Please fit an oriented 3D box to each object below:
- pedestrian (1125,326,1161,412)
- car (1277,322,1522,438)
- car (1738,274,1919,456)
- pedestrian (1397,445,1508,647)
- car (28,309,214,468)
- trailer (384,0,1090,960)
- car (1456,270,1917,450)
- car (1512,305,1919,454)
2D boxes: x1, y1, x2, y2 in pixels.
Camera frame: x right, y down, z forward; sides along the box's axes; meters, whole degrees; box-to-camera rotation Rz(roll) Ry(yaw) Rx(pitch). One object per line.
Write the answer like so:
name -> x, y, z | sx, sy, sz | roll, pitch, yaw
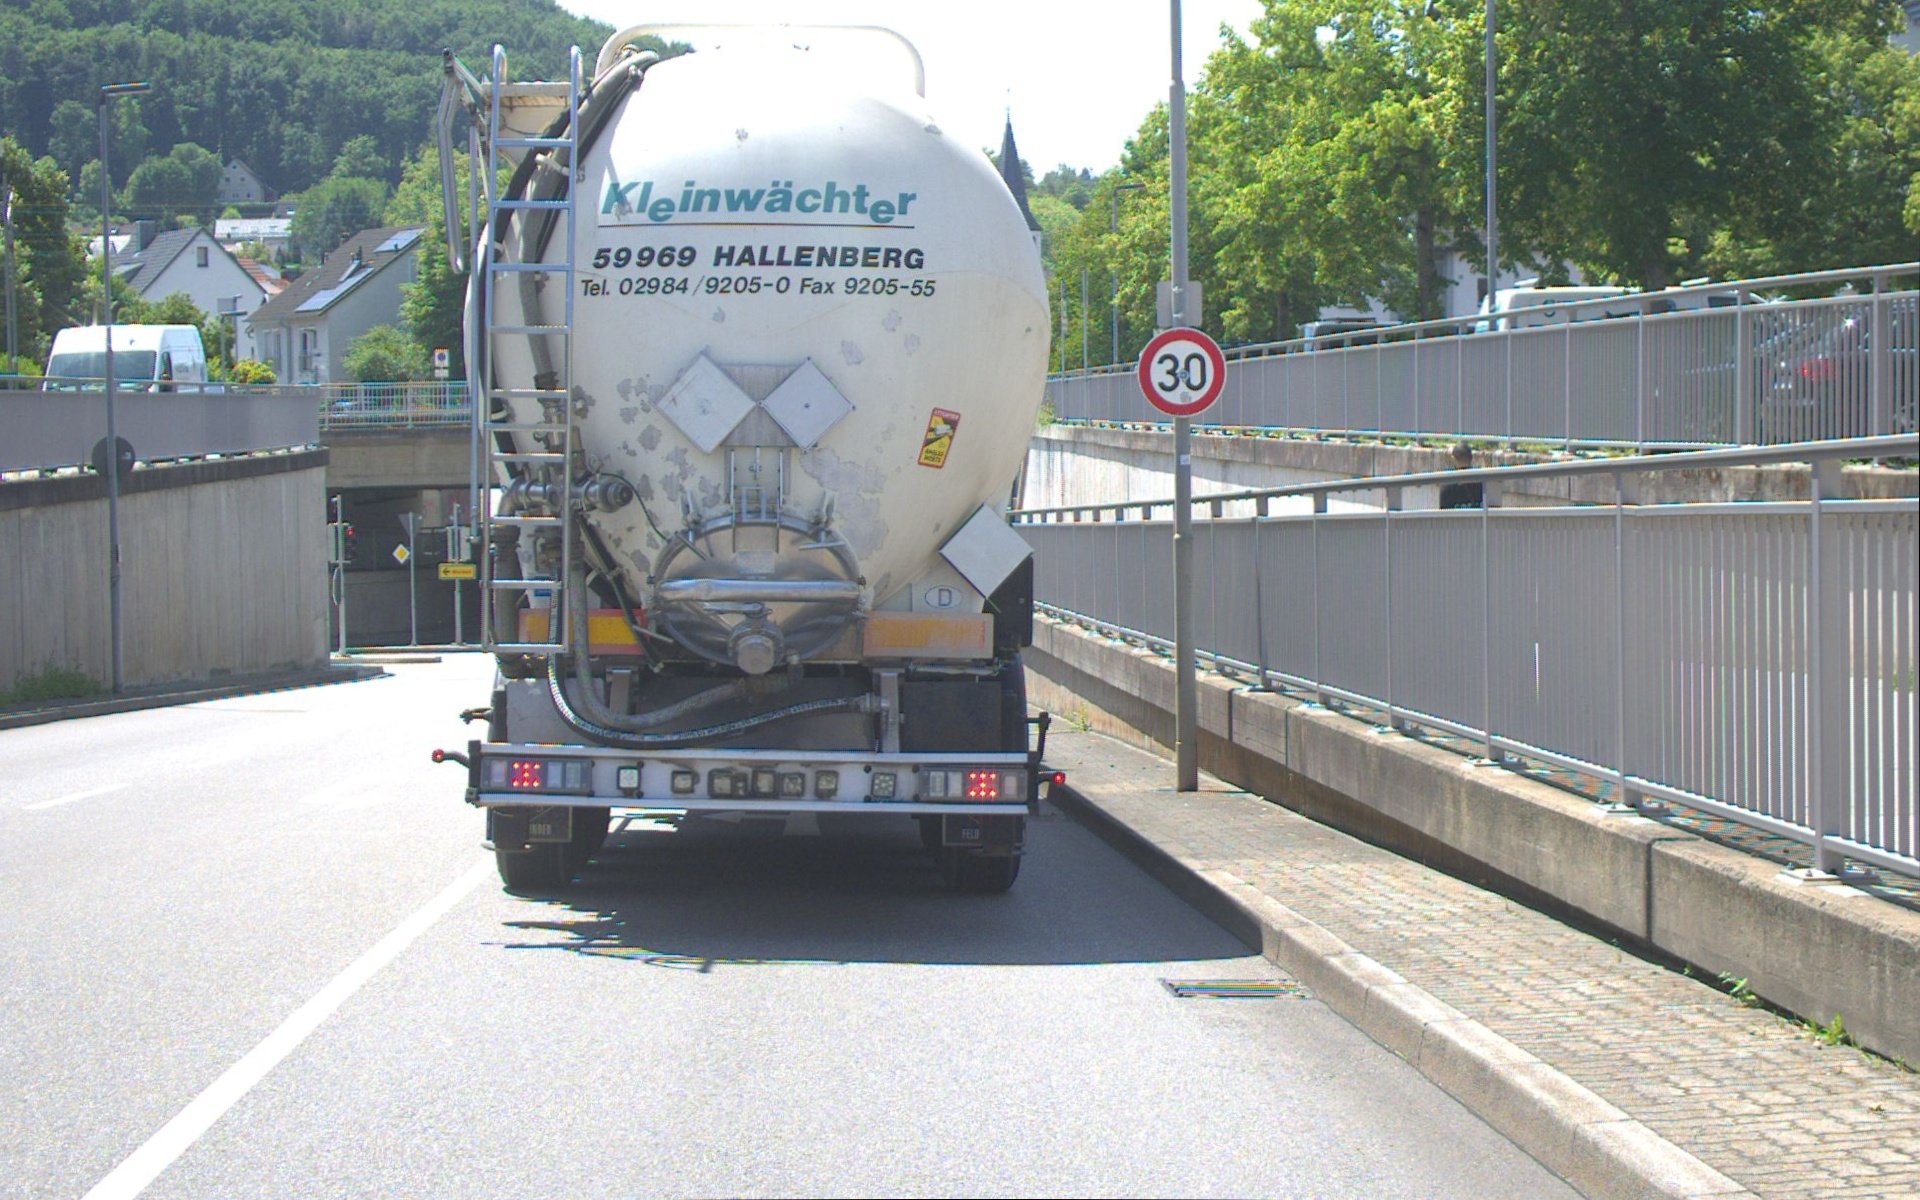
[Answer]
pedestrian -> 3.799, -4.792, 71.364 | 0.673, 1.773, 0.594 | -1, 3, -1
car -> 7.444, -3.733, 58.418 | 3.905, 1.878, 1.686 | -1, 3, -1
car -> 8.952, -2.018, 29.369 | 4.204, 1.493, 1.686 | -1, 3, -1
pedestrian -> 4.402, -0.486, 30.787 | 0.836, 1.776, 0.788 | -1, 1, -2
car -> -14.172, -3.573, 58.403 | 2.065, 2.527, 5.663 | 1, 3, -3
trailer -> -1.101, -0.618, 20.321 | 2.735, 4.050, 13.313 | 1, 0, -2
car -> 8.722, -2.882, 41.559 | 5.112, 2.056, 1.989 | -1, 3, -1
car -> 8.478, -2.475, 38.755 | 4.204, 1.590, 1.686 | -1, 3, -1
